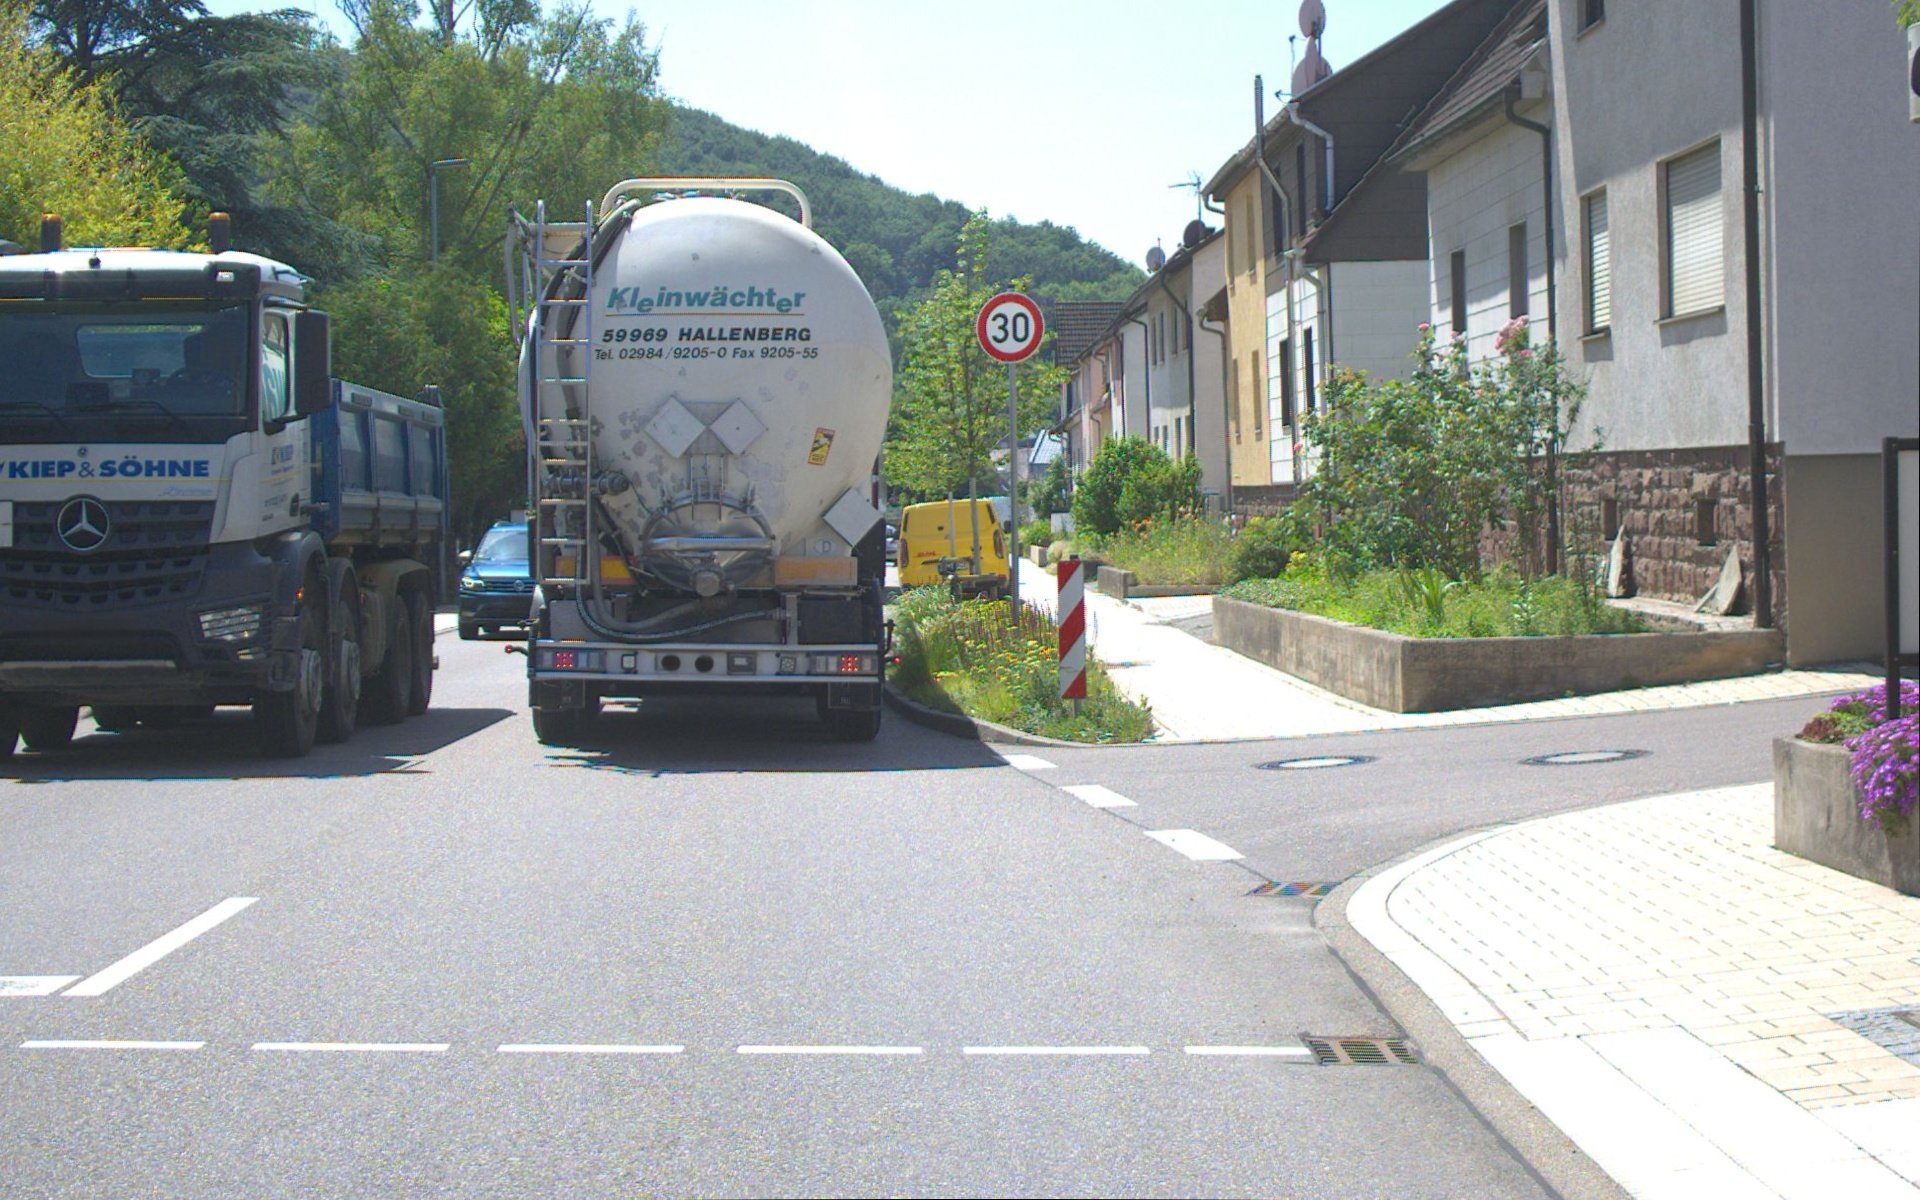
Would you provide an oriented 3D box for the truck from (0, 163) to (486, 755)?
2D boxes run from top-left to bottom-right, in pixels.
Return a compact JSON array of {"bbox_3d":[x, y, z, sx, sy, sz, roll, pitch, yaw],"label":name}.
[{"bbox_3d":[-5.591,-0.988,26.197,2.542,3.725,8.622,-1,1,1],"label":"truck"}]

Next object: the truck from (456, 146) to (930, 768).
[{"bbox_3d":[-1.786,-1.078,27.824,2.750,4.043,10.890,0,2,1],"label":"truck"}]

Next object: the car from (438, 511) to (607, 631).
[{"bbox_3d":[-6.272,-0.425,49.712,1.888,1.639,4.614,1,1,-1],"label":"car"}]

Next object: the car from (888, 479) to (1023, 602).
[{"bbox_3d":[-0.138,-1.083,63.625,2.189,2.007,5.623,-5,1,-2],"label":"car"}]
